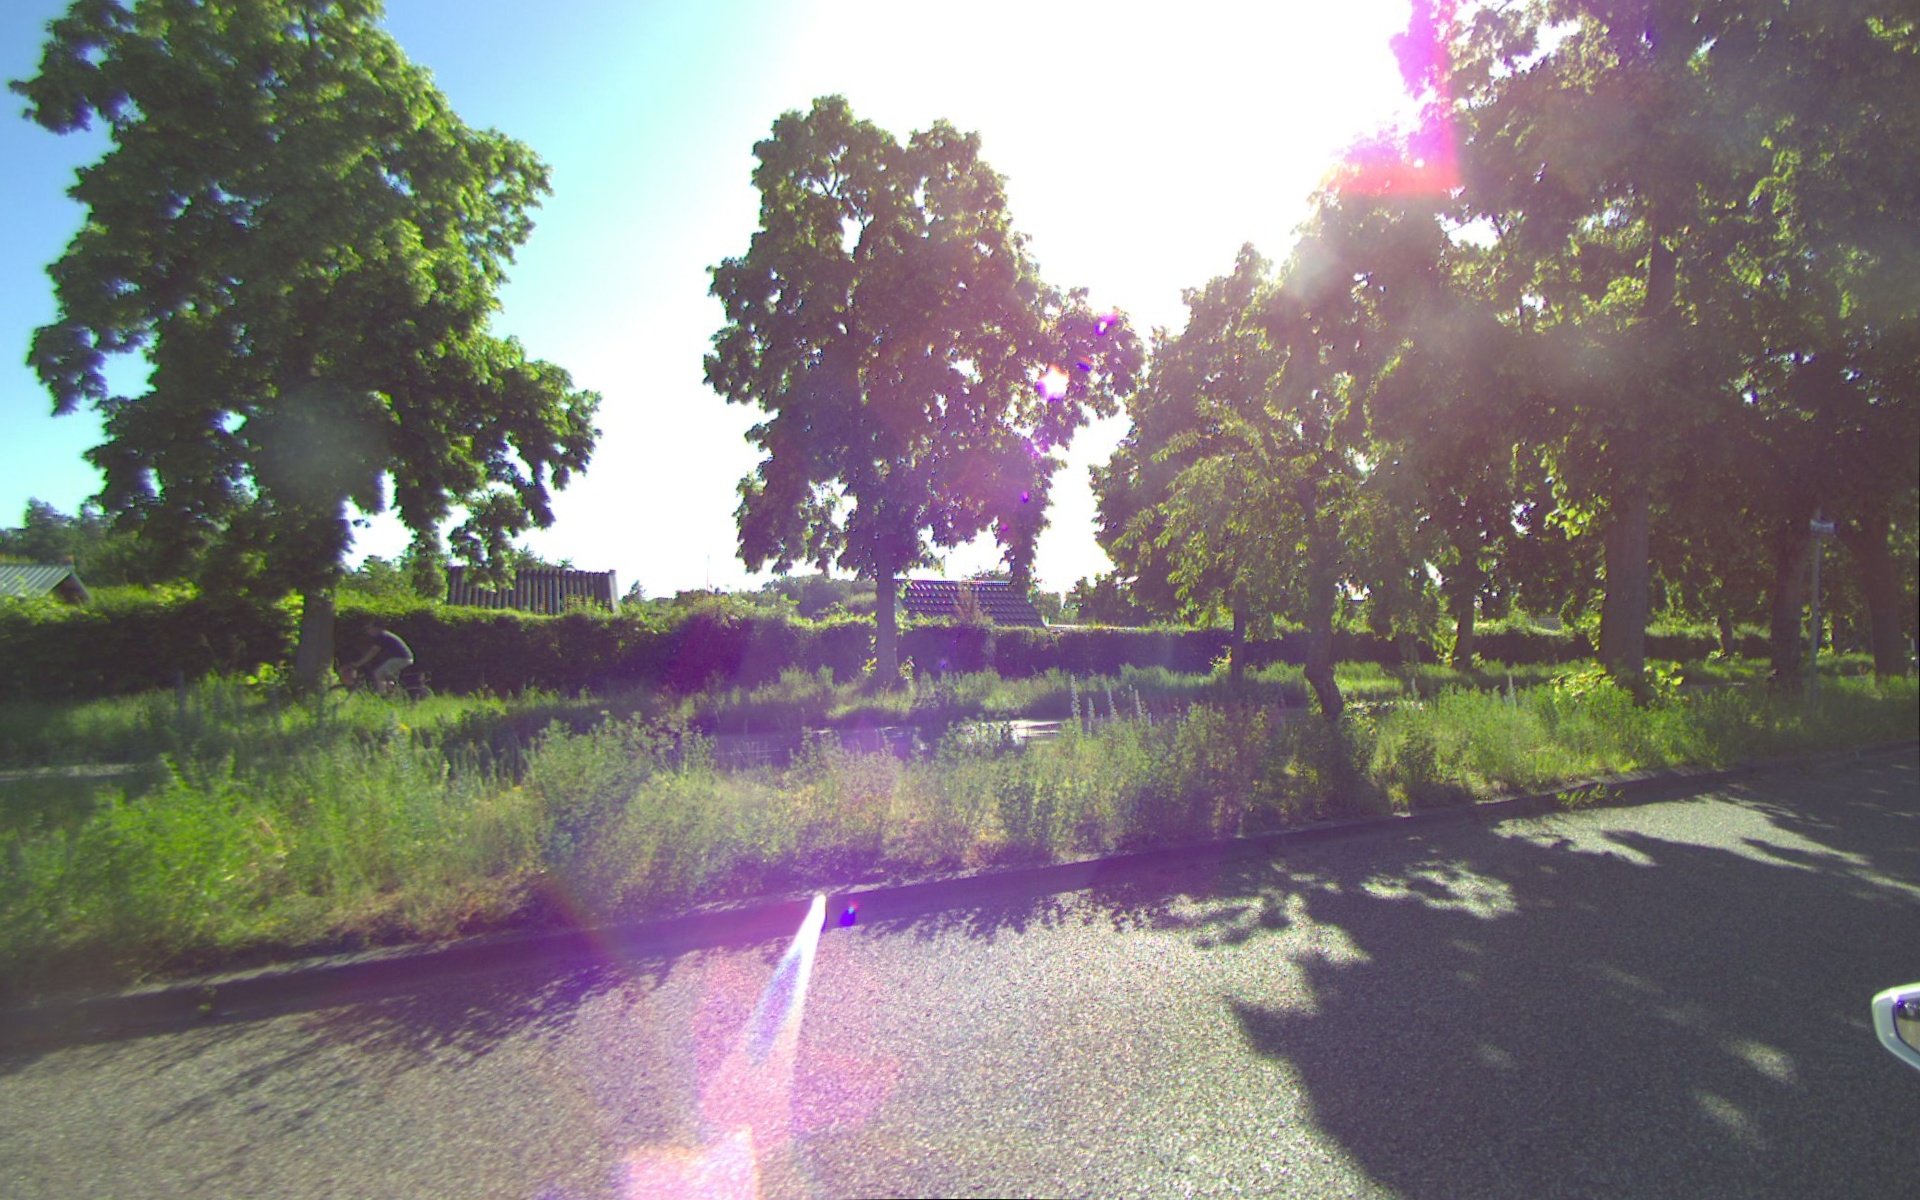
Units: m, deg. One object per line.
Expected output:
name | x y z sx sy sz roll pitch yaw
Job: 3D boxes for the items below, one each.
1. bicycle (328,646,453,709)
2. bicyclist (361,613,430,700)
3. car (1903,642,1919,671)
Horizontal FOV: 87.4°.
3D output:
bicycle | -9.689 1.303 17.151 1.819 1.009 0.686 1 -2 -30
bicyclist | -9.634 0.949 17.176 0.988 1.439 0.686 1 -2 -30
car | 51.287 2.960 52.992 4.900 1.455 1.679 2 -4 -40
